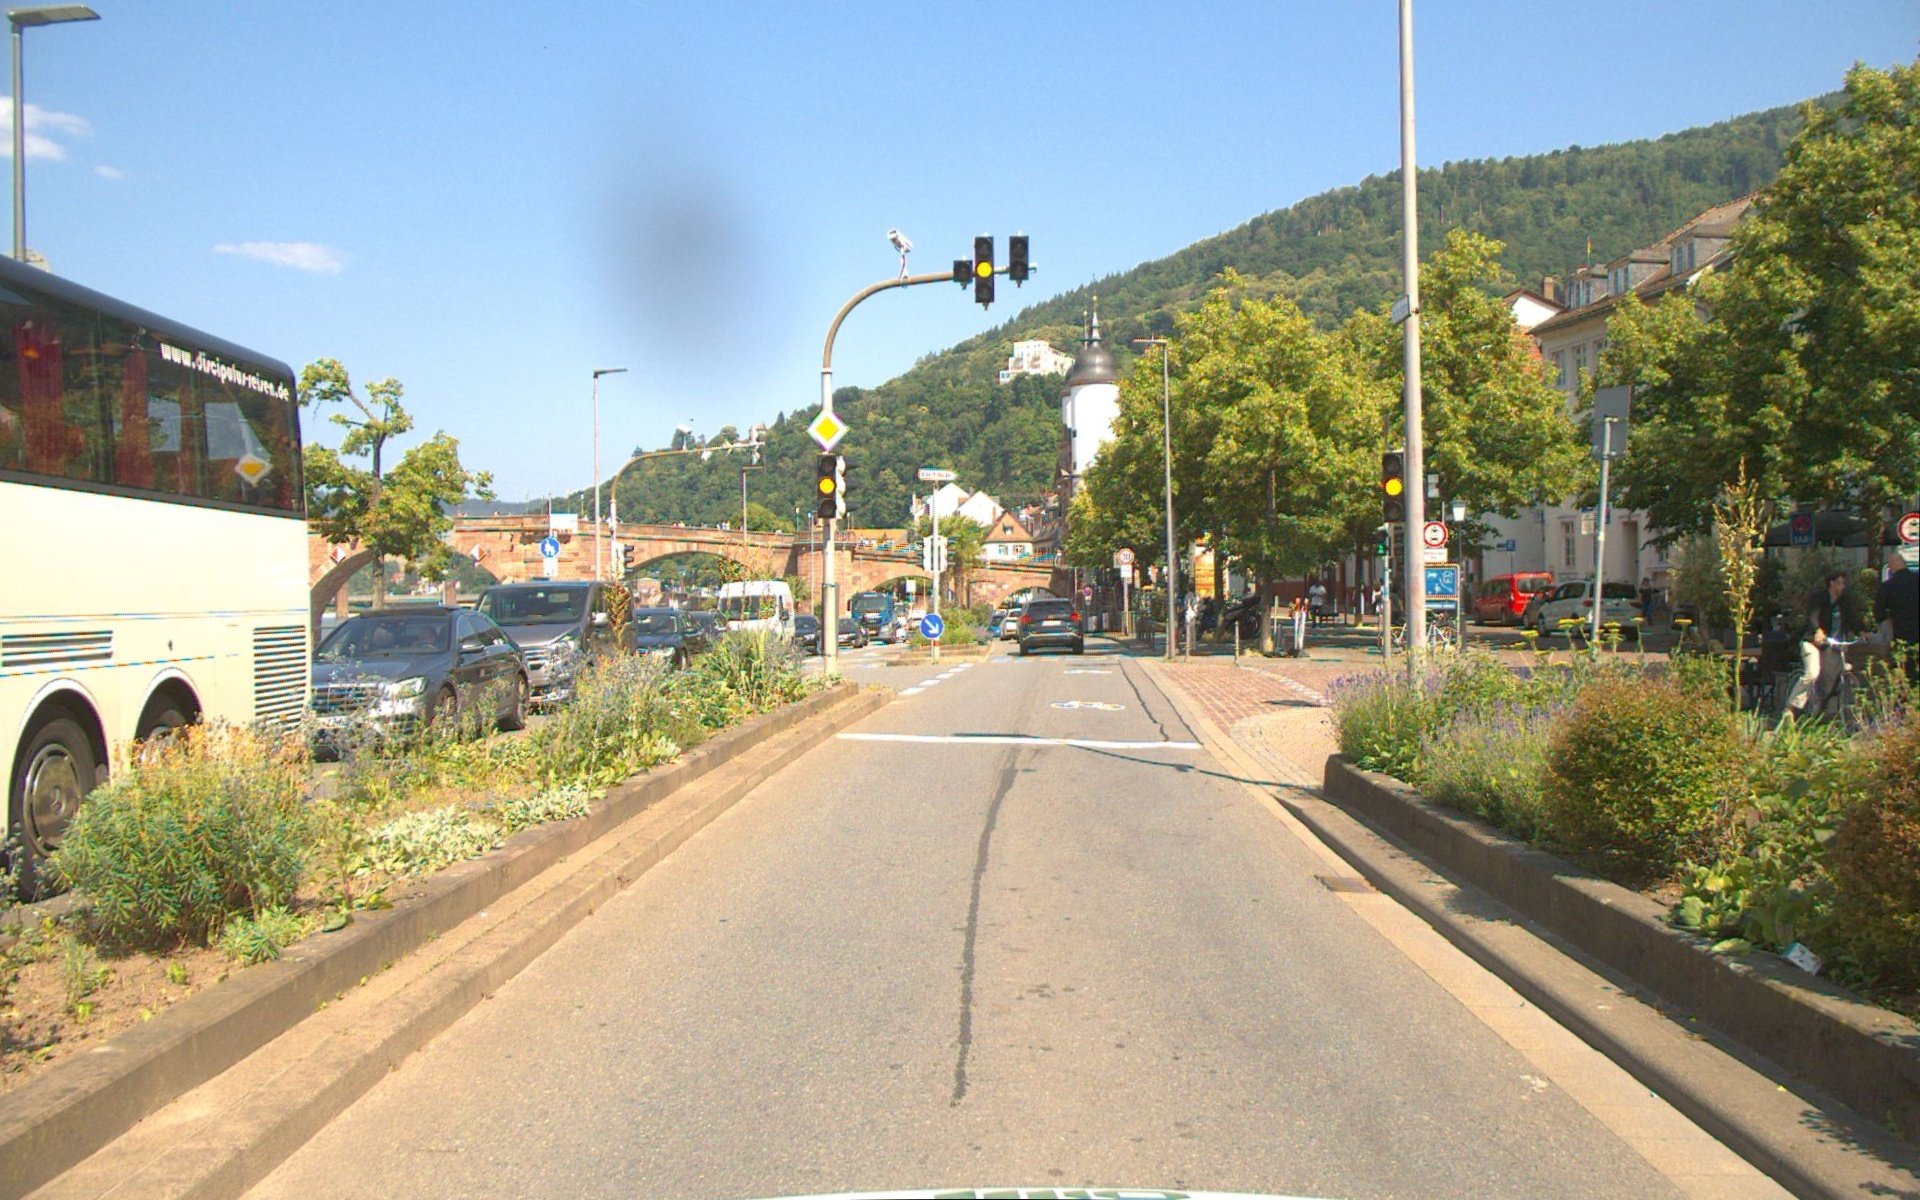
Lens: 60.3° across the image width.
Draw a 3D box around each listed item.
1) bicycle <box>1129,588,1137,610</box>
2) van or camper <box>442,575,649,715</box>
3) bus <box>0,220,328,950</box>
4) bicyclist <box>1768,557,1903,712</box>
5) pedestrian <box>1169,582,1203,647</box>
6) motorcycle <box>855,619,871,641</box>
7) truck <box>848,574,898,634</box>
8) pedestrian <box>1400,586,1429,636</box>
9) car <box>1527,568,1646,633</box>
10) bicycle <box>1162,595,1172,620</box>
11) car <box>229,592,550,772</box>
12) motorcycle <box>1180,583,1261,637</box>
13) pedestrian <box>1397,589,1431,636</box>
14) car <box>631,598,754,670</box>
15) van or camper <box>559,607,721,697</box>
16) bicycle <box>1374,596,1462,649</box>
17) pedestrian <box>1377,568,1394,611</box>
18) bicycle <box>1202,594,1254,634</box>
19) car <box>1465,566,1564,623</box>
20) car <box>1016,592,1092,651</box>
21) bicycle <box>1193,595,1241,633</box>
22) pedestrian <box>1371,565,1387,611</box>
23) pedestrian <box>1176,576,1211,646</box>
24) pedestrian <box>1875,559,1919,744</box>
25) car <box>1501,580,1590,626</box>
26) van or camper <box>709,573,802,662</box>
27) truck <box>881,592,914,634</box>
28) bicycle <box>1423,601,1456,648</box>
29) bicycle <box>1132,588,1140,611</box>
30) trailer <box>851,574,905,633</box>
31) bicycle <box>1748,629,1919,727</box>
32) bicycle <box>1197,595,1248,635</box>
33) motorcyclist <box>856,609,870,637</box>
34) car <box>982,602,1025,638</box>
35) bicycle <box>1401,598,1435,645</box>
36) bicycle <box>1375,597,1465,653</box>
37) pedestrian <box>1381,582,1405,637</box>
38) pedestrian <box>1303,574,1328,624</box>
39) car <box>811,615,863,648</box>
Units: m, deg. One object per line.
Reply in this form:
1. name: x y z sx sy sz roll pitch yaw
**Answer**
1. bicycle: 8.738 -0.054 83.646 0.245 1.115 1.489 1 0 1
2. van or camper: -6.306 0.636 25.813 1.953 1.906 5.178 -2 0 -1
3. bus: -5.980 -0.080 6.451 2.578 3.626 12.975 -1 -1 -3
4. bicyclist: 9.468 0.357 17.916 0.753 1.611 1.086 -1 0 -12
5. pedestrian: 6.087 0.396 44.609 0.680 1.706 0.763 -3 0 -6
6. motorcycle: -5.221 1.623 89.124 0.742 1.151 2.455 -1 0 -2
7. truck: -5.221 0.253 99.663 2.602 3.463 4.451 -1 0 2
8. pedestrian: 12.898 0.312 46.971 0.614 1.406 0.541 1 0 -6
9. car: 17.861 -0.009 47.364 1.732 1.759 4.569 -1 0 1
10. bicycle: 8.519 0.301 68.125 0.245 1.017 1.488 1 0 0
11. car: -6.223 0.803 18.771 1.954 1.626 5.154 -4 0 -3
12. motorcycle: 7.590 0.296 48.263 2.258 1.491 0.760 -3 -2 43
13. pedestrian: 12.667 0.336 46.158 0.680 1.274 0.763 -1 0 -6
14. car: -6.098 0.741 38.210 1.912 1.433 4.571 -4 0 1
15. van or camper: -5.997 0.926 31.635 1.952 1.502 5.066 -2 0 1
16. bicycle: 10.729 0.521 38.771 1.969 1.219 0.522 1 0 14
17. pedestrian: 18.777 -0.469 72.962 0.573 1.872 0.596 -1 0 1
18. bicycle: 8.034 0.430 49.597 1.453 1.139 0.294 -2 0 0
19. car: 19.973 -0.204 59.801 1.953 1.935 4.633 -1 0 -1
20. car: 2.579 0.594 46.273 1.887 1.580 4.831 0 -1 0
21. bicycle: 8.252 0.447 53.131 1.454 1.139 0.250 -2 0 -4
22. pedestrian: 19.121 -0.554 75.457 0.573 2.049 0.596 -1 0 1
23. pedestrian: 6.251 0.291 44.224 0.680 1.802 0.763 -3 0 -6
24. pedestrian: 10.161 0.516 17.307 0.747 1.890 0.609 -3 0 -6
25. car: 19.391 0.110 54.890 1.640 1.457 3.470 -1 0 -1
26. van or camper: -6.231 0.554 50.949 1.952 2.492 5.495 -3 -1 1
27. truck: -5.326 1.049 140.975 2.604 3.463 5.134 -1 0 -1
28. bicycle: 11.565 0.591 39.872 0.582 1.086 2.065 -2 -1 20
29. bicycle: 8.692 -0.041 81.719 0.245 1.115 1.489 1 0 1
30. trailer: -5.080 0.219 104.037 2.602 3.463 8.828 -1 0 2
31. bicycle: 9.471 0.822 17.984 0.736 0.981 1.778 0 0 -10
32. bicycle: 8.057 0.458 50.775 1.454 1.139 0.294 -2 0 -4
33. motorcyclist: -5.226 1.242 89.169 0.721 1.496 1.011 -1 0 -2
34. car: 2.078 0.928 78.286 1.952 1.580 4.833 -1 0 2
35. bicycle: 11.116 0.517 40.131 0.582 1.086 2.066 -2 0 20
36. bicycle: 10.628 0.567 38.271 1.956 1.219 0.522 1 1 14
37. pedestrian: 12.386 0.274 47.349 0.450 1.544 0.689 0 0 -6
38. pedestrian: 12.123 -0.035 56.449 0.693 1.682 0.707 -1 0 2
39. car: -5.826 1.512 78.948 1.911 1.437 4.220 -3 -2 3
